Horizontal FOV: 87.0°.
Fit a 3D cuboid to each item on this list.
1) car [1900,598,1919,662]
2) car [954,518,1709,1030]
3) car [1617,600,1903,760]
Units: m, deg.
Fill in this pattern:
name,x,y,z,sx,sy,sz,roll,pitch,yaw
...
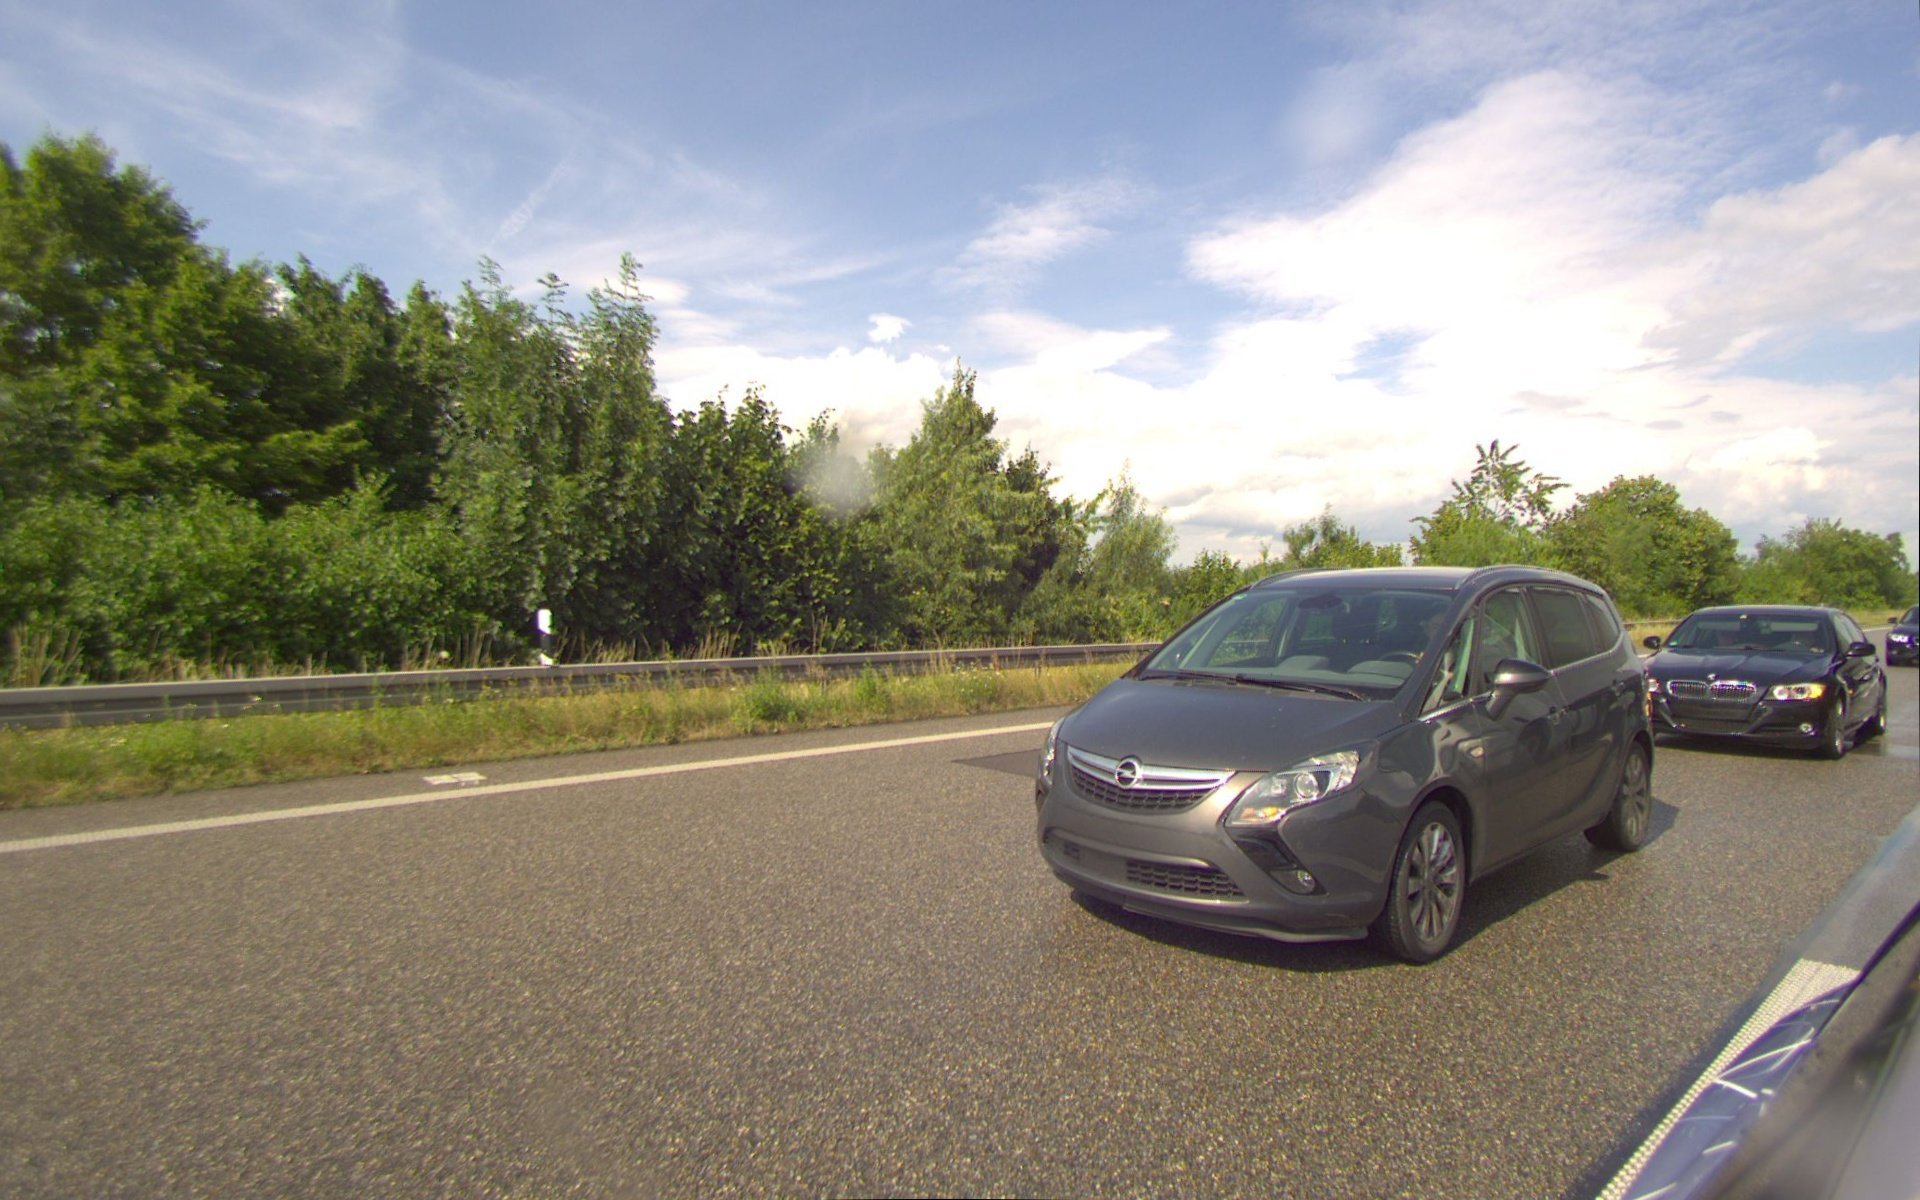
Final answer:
name,x,y,z,sx,sy,sz,roll,pitch,yaw
car,22.727,0.651,23.105,1.740,1.382,3.935,0,1,45
car,2.326,0.545,5.509,4.653,1.652,1.857,0,0,-41
car,8.552,0.695,10.706,3.816,1.371,1.721,0,0,-41
